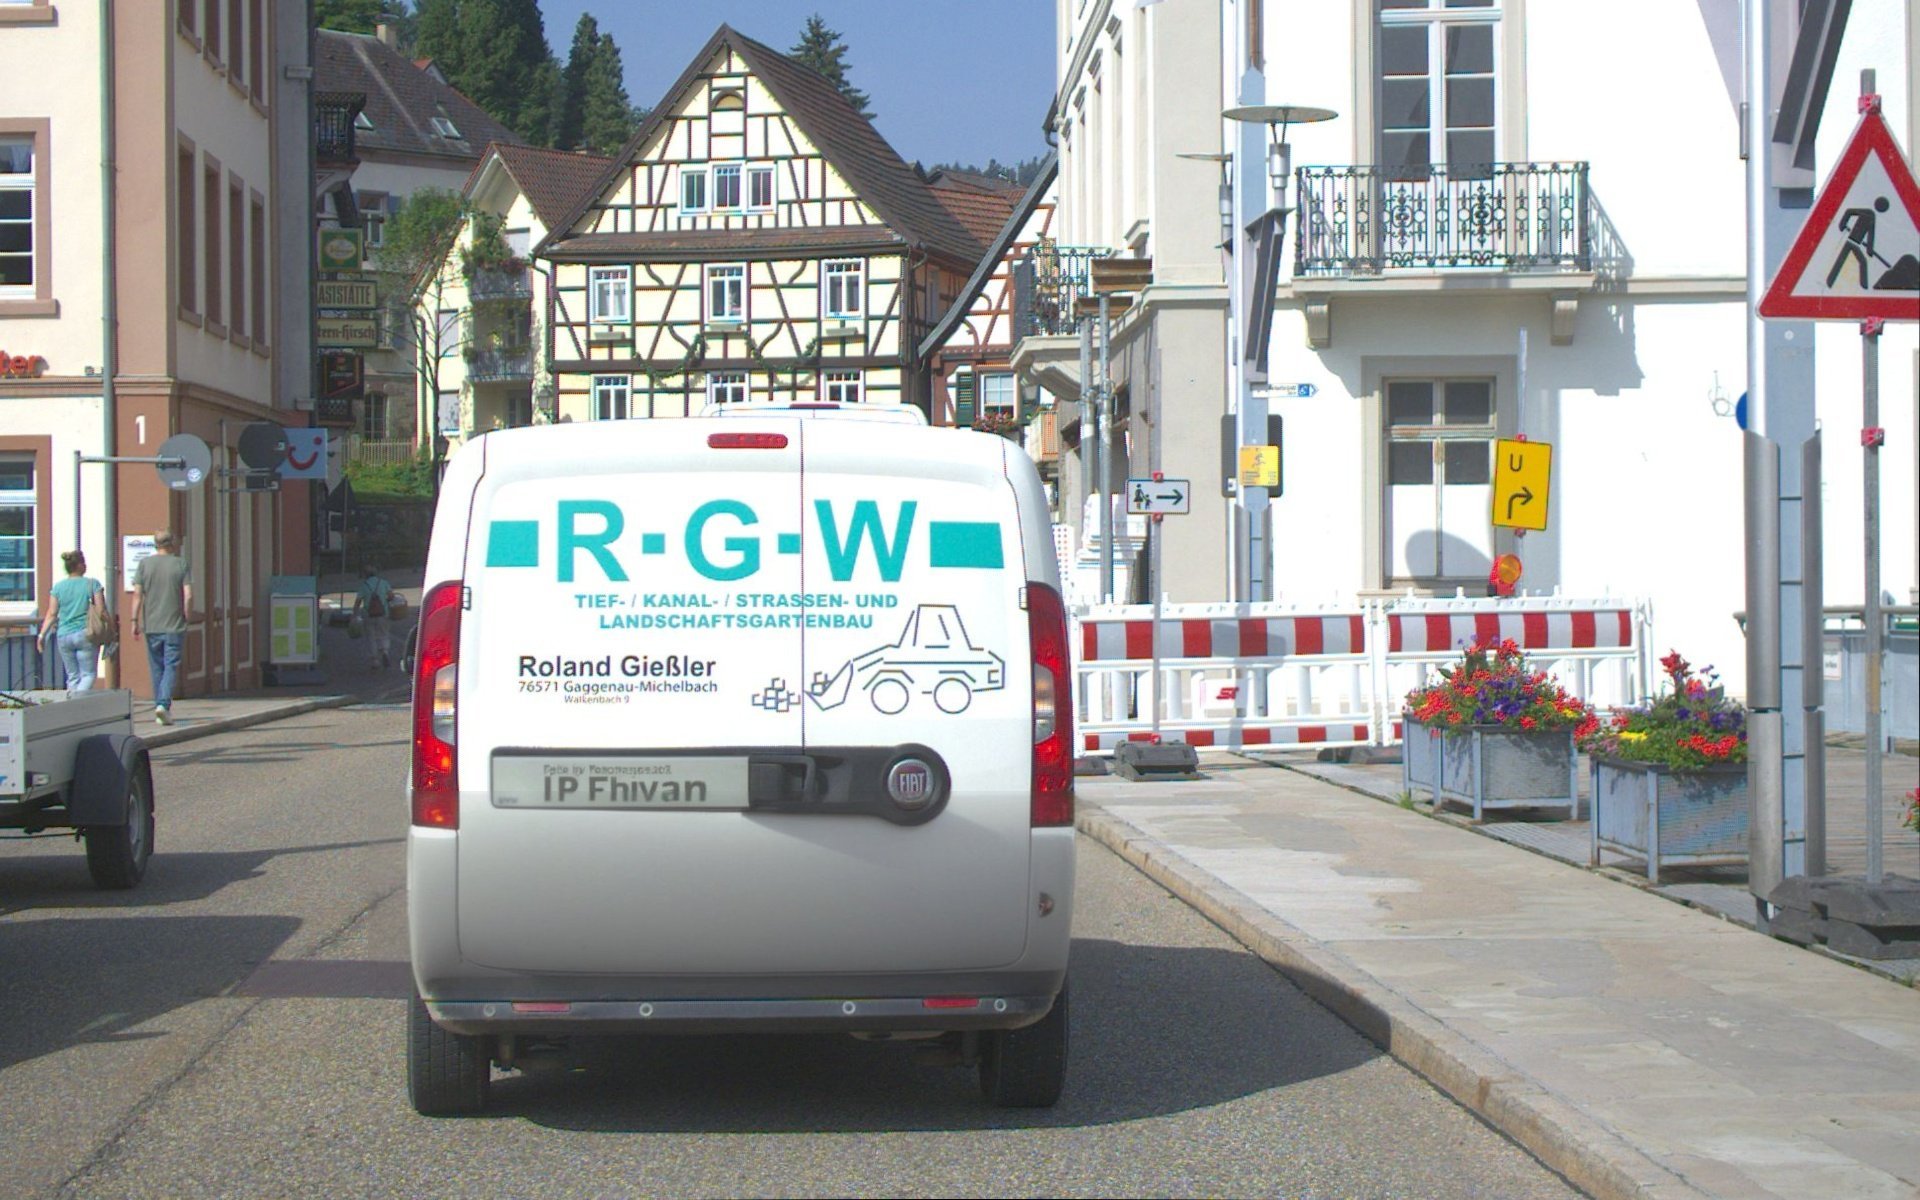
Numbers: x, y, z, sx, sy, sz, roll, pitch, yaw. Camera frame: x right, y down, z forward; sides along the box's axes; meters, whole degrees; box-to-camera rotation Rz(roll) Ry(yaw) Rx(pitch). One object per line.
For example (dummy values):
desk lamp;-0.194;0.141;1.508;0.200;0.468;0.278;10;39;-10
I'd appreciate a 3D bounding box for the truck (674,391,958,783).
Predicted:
truck;-1.107;-0.112;24.743;1.861;2.576;4.261;0;1;-4

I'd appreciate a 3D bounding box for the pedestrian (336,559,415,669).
pedestrian;-8.879;0.212;52.244;1.073;1.641;0.686;0;2;-1

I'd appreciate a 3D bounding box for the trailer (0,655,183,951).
trailer;-4.514;0.793;14.614;1.750;1.019;4.186;-1;0;-4

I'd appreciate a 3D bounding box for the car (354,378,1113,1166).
car;-0.814;0.392;10.540;1.844;1.899;4.316;0;1;-7

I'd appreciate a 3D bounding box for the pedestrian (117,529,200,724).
pedestrian;-7.358;0.235;31.586;0.614;1.756;0.864;1;1;-5

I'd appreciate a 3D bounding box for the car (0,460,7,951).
car;-4.215;0.438;10.176;1.776;1.786;4.698;1;1;-4

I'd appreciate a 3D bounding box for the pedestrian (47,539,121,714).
pedestrian;-8.108;0.240;31.826;0.583;1.604;0.537;1;1;-6
